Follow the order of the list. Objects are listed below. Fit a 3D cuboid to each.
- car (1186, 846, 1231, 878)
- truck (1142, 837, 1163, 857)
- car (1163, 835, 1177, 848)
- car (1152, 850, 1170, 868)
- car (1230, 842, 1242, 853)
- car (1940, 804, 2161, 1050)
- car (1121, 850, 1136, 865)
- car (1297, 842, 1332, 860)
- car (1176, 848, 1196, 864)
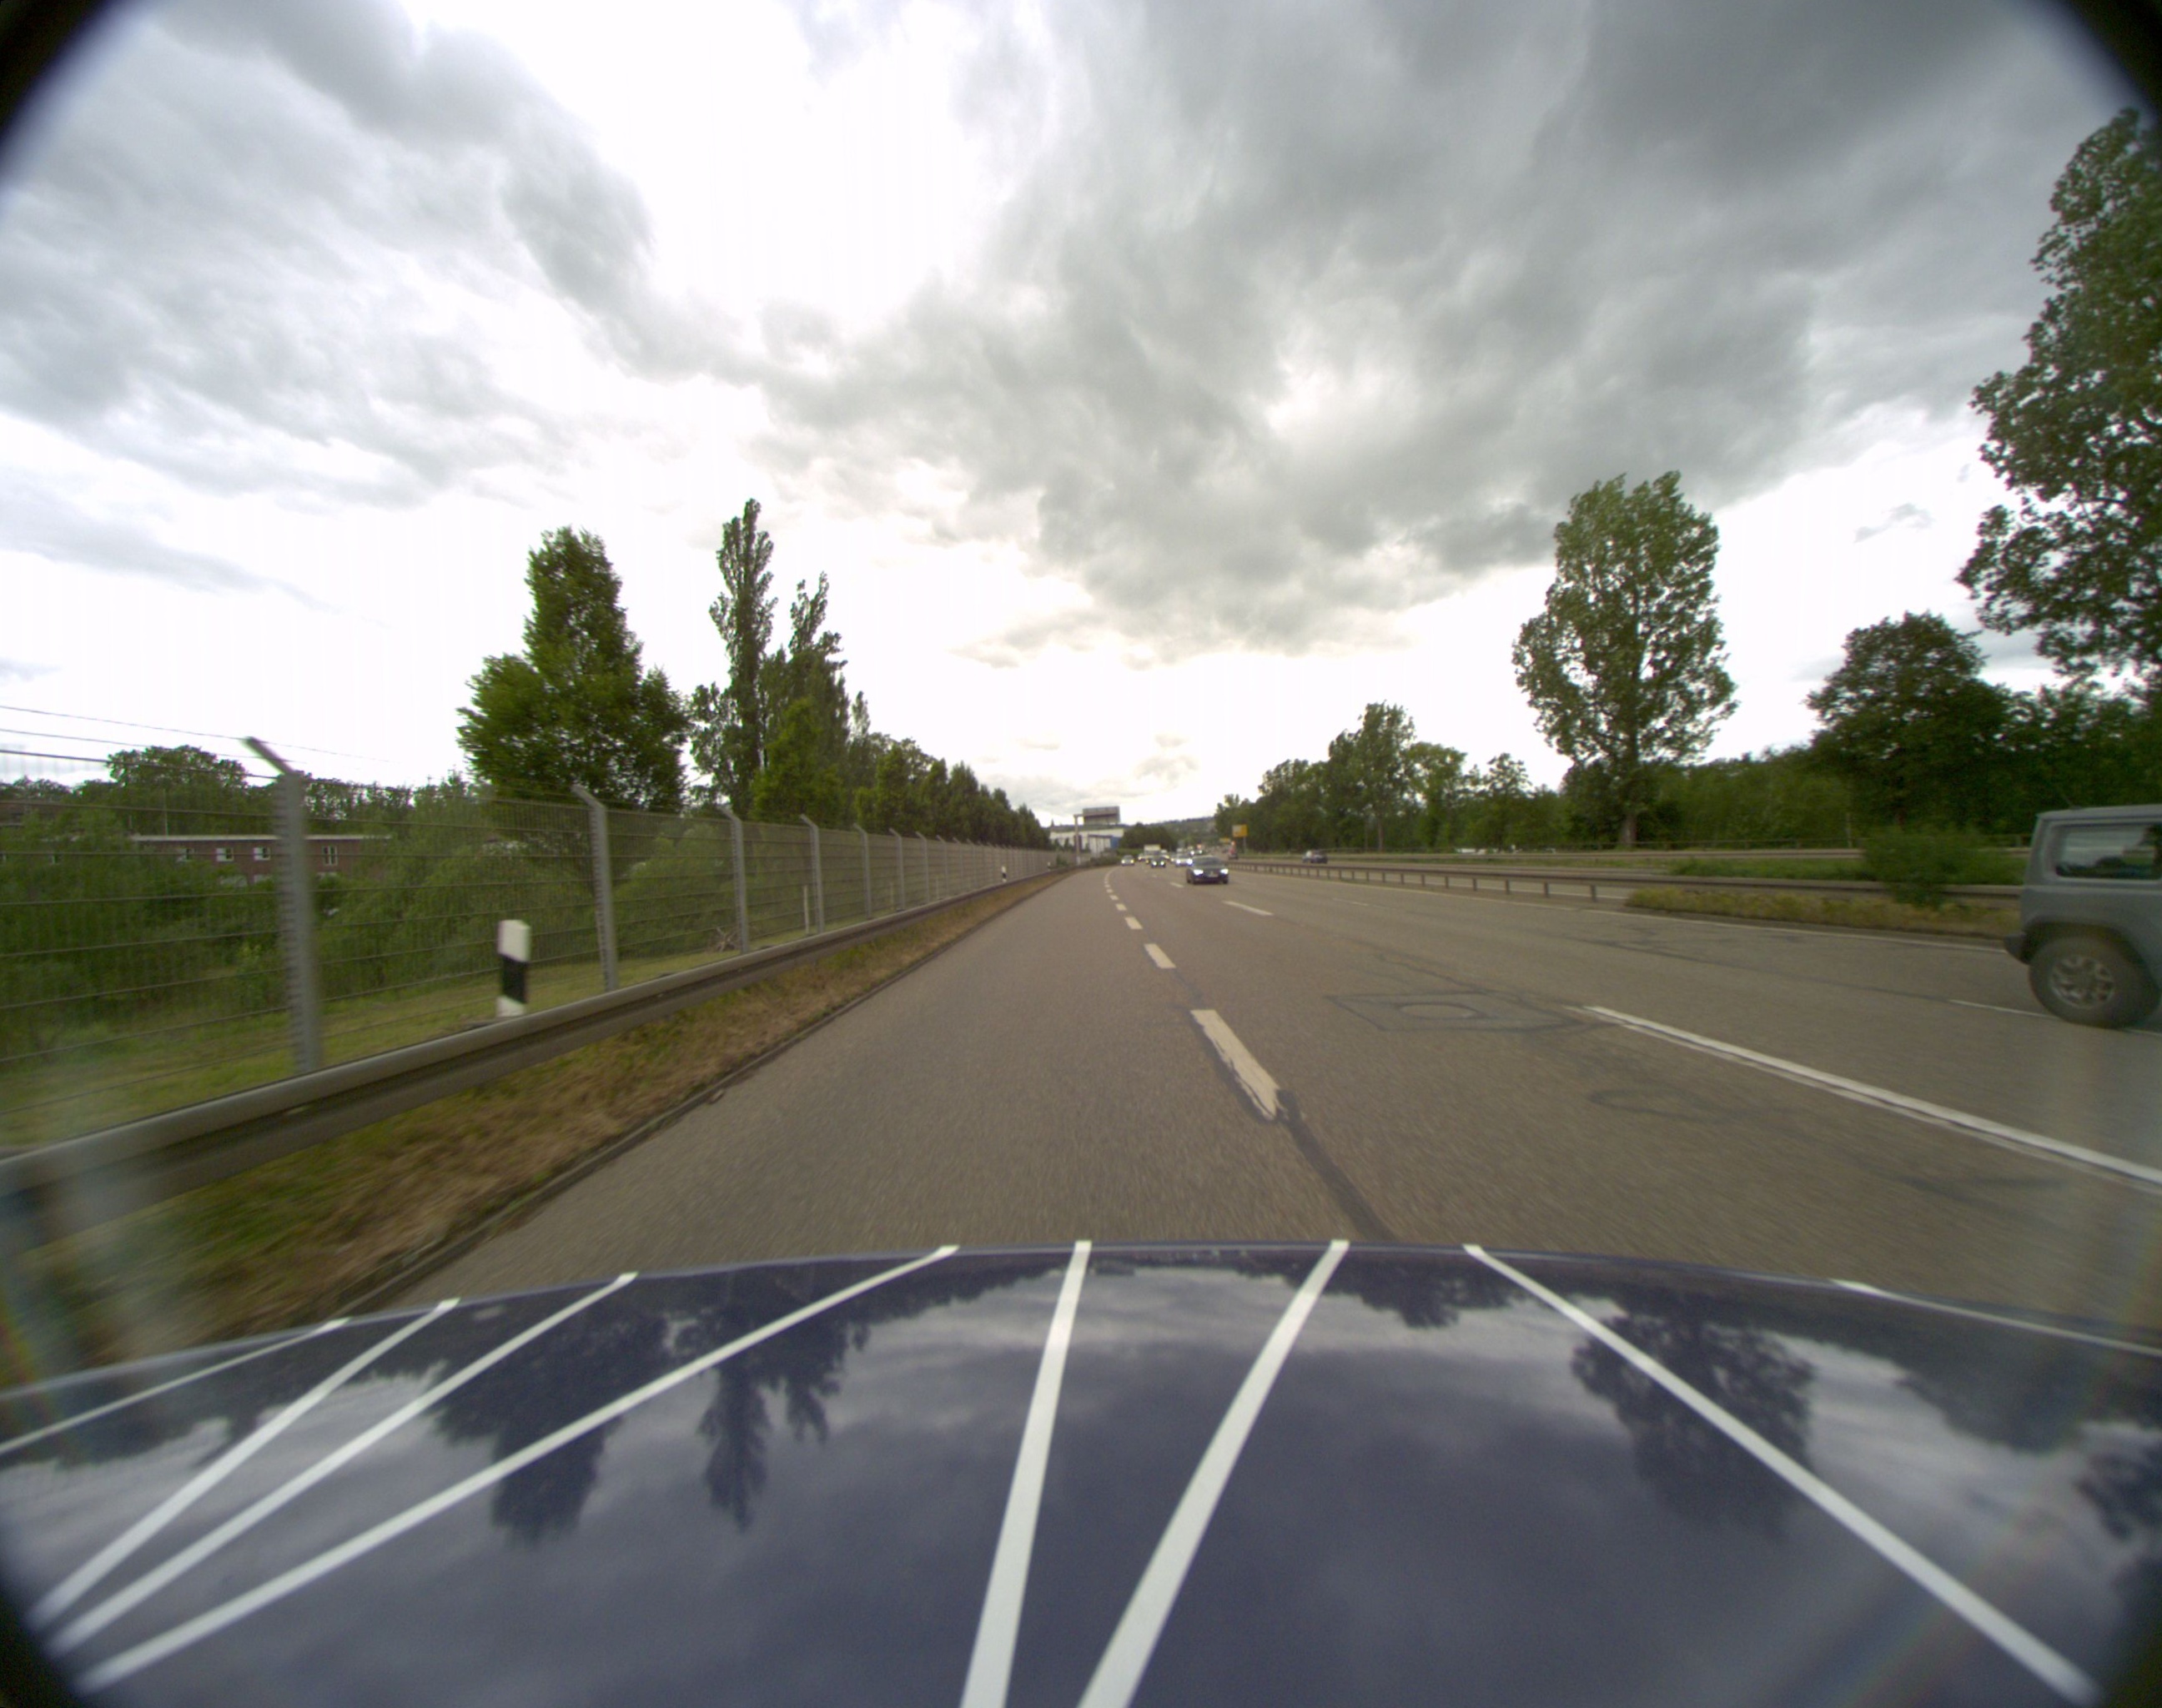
[{"bbox_3d":[6.545,0.401,39.401,1.939,1.492,4.306,-2,0,5],"label":"car"},{"bbox_3d":[11.969,-1.165,127.674,3.039,3.141,7.568,-2,1,1],"label":"truck"},{"bbox_3d":[14.703,-2.093,125.946,1.998,2.001,4.002,-4,-1,5],"label":"car"},{"bbox_3d":[9.477,0.563,90.438,1.998,2.001,4.002,-4,-1,5],"label":"car"},{"bbox_3d":[31.153,-1.310,153.027,1.997,2.001,5.225,-4,-1,8],"label":"car"},{"bbox_3d":[8.376,0.488,4.712,1.684,1.725,3.999,-2,0,3],"label":"car"},{"bbox_3d":[7.215,0.495,115.849,1.998,2.002,4.001,-4,0,5],"label":"car"},{"bbox_3d":[24.089,-0.274,78.630,1.999,1.599,4.650,-5,-1,-1],"label":"car"},{"bbox_3d":[12.774,0.206,92.345,1.878,1.853,4.000,-2,0,1],"label":"car"}]
